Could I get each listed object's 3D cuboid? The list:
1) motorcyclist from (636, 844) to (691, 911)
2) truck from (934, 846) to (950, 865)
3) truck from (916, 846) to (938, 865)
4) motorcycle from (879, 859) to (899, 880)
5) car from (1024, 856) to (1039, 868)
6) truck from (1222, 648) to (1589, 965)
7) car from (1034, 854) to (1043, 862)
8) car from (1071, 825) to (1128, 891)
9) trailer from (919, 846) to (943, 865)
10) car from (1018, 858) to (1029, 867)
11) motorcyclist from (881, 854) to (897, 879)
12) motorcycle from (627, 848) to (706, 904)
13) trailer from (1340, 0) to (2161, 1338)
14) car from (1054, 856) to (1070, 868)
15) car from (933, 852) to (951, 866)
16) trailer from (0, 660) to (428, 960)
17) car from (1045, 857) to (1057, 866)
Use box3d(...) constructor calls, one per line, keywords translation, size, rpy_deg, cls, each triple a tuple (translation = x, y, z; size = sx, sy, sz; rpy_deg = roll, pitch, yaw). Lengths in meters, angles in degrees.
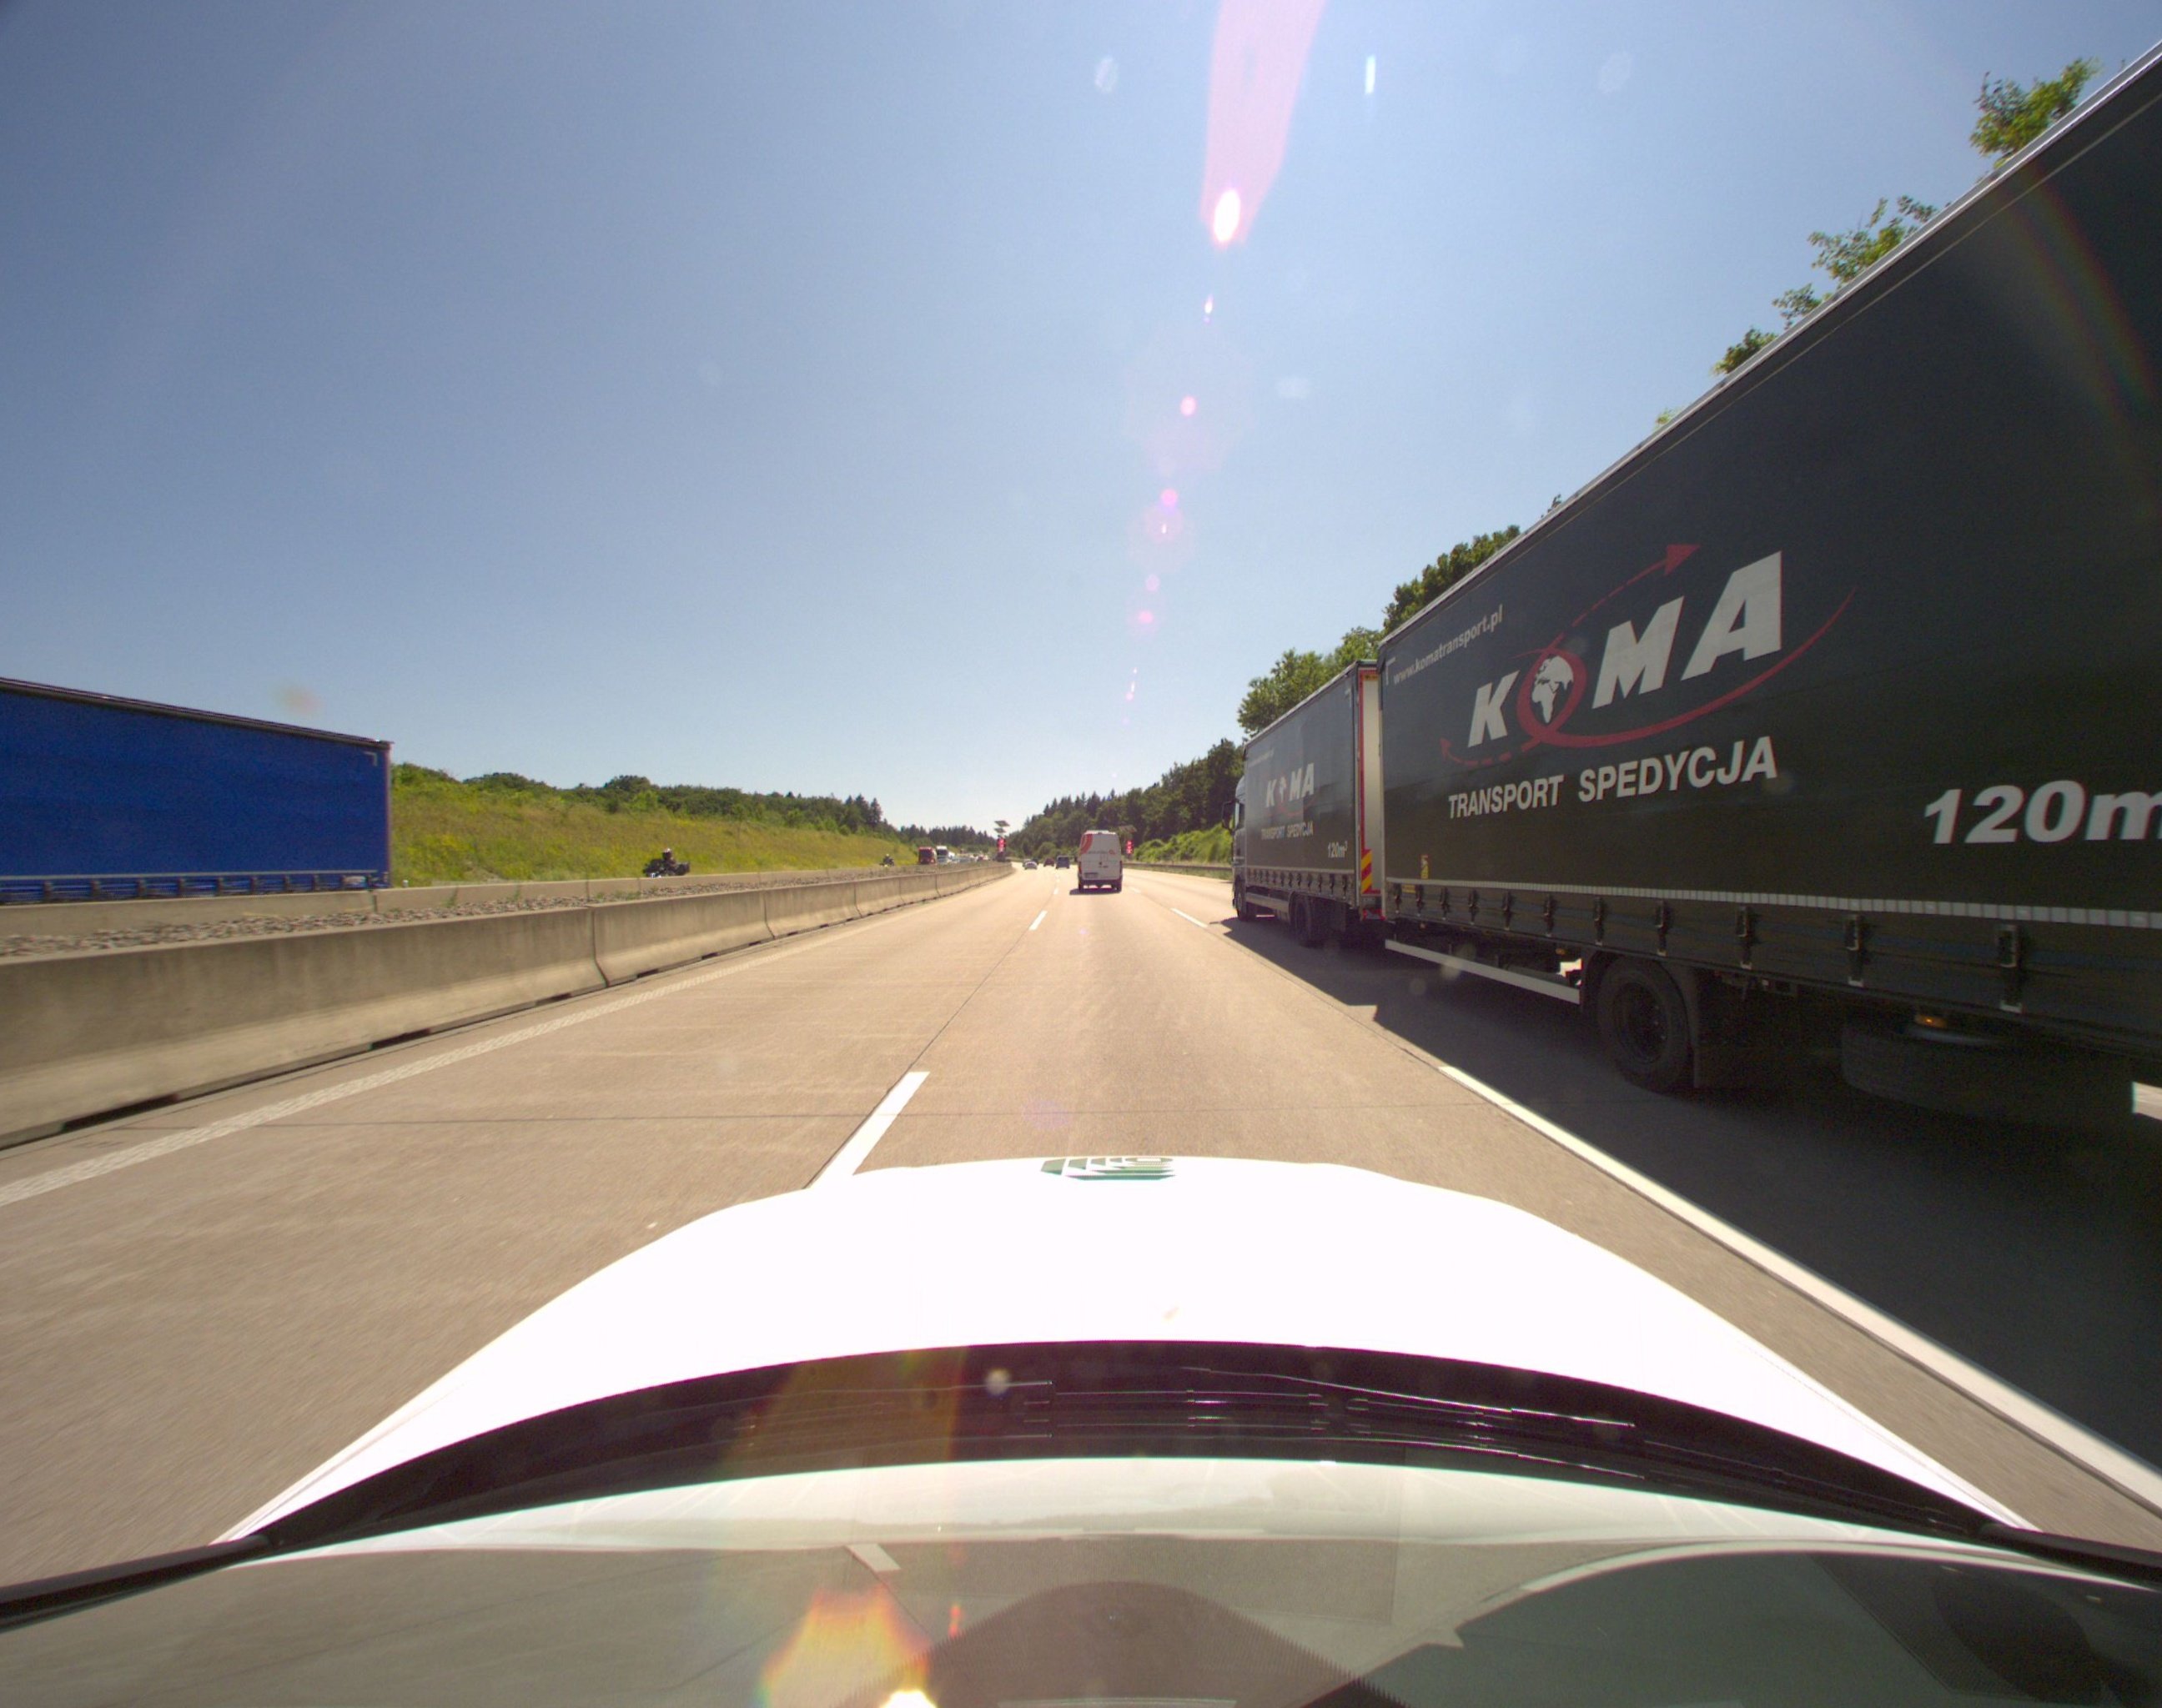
box3d(translation=(-12.169, 0.661, 23.780), size=(0.816, 1.873, 1.492), rpy_deg=(0, 0, 1), cls="motorcyclist")
box3d(translation=(-31.072, 0.331, 182.046), size=(2.929, 4.169, 5.748), rpy_deg=(2, -1, -6), cls="truck")
box3d(translation=(-26.527, 0.321, 140.410), size=(2.928, 3.215, 5.896), rpy_deg=(1, -1, -4), cls="truck")
box3d(translation=(-13.126, 1.029, 55.742), size=(0.822, 1.372, 2.357), rpy_deg=(0, 0, 1), cls="motorcycle")
box3d(translation=(-7.238, 1.216, 119.792), size=(1.991, 1.684, 3.991), rpy_deg=(2, -1, -6), cls="car")
box3d(translation=(5.043, -0.578, 15.692), size=(3.147, 4.017, 10.612), rpy_deg=(-1, 0, 2), cls="truck")
box3d(translation=(-9.861, 0.957, 189.497), size=(1.991, 1.684, 3.991), rpy_deg=(2, -1, -6), cls="car")
box3d(translation=(0.780, 0.148, 37.896), size=(2.222, 2.844, 5.447), rpy_deg=(0, 0, -3), cls="car")
box3d(translation=(-26.975, 0.386, 146.934), size=(2.928, 3.215, 11.813), rpy_deg=(1, -1, -4), cls="trailer")
box3d(translation=(-11.255, 1.615, 158.723), size=(1.991, 1.684, 3.991), rpy_deg=(2, -1, -6), cls="car")
box3d(translation=(-13.114, 0.844, 55.684), size=(0.690, 1.709, 1.525), rpy_deg=(0, 0, 1), cls="motorcyclist")
box3d(translation=(-12.109, 0.610, 23.918), size=(1.004, 1.549, 2.484), rpy_deg=(0, 0, 1), cls="motorcycle")
box3d(translation=(4.702, -0.641, 5.723), size=(3.123, 4.017, 9.091), rpy_deg=(-1, 0, 2), cls="trailer")
box3d(translation=(-2.790, 1.219, 118.954), size=(1.991, 1.684, 3.991), rpy_deg=(2, -1, -6), cls="car")
box3d(translation=(-18.954, 0.704, 110.840), size=(1.990, 1.772, 3.994), rpy_deg=(-1, 0, -4), cls="car")
box3d(translation=(-15.747, -0.613, 10.622), size=(3.151, 3.932, 13.863), rpy_deg=(1, -1, 0), cls="trailer")
box3d(translation=(-5.673, 1.405, 153.398), size=(1.991, 1.684, 3.991), rpy_deg=(2, -1, -6), cls="car")
